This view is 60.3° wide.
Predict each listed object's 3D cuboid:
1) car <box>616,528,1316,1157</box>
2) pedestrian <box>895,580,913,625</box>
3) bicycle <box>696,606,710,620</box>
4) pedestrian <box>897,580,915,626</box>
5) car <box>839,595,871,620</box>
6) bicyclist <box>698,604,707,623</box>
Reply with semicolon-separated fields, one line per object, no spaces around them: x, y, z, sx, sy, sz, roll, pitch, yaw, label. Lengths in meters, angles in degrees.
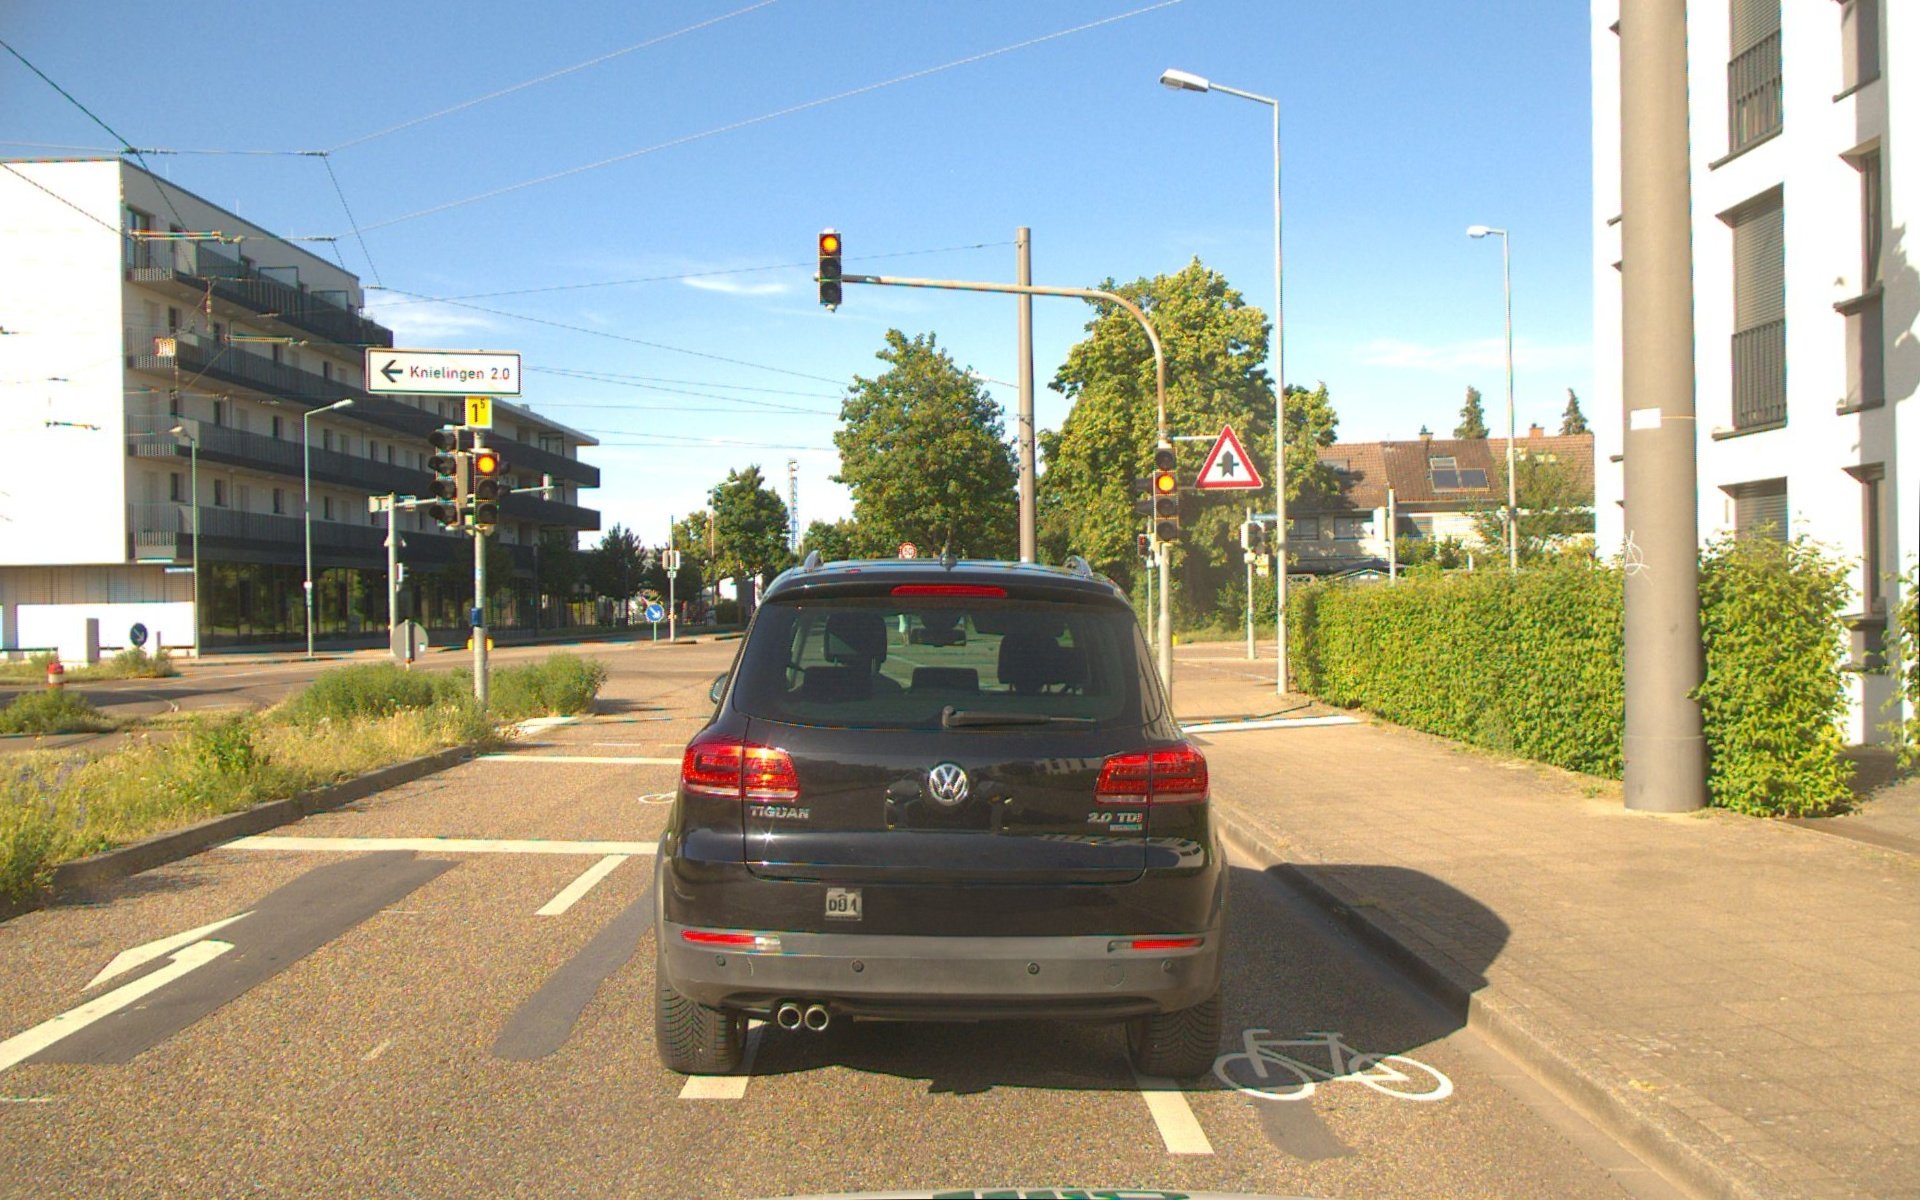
-0.046;0.644;6.435;1.867;1.671;3.998;0;0;-2;car
-2.001;0.081;59.102;0.590;1.592;0.529;0;0;4;pedestrian
-16.865;0.845;108.392;0.485;0.863;2.079;0;0;3;bicycle
-1.944;0.111;59.697;0.590;1.668;0.529;0;0;4;pedestrian
-5.978;0.409;94.351;1.716;1.411;3.998;0;0;-2;car
-16.864;0.881;108.394;0.464;1.245;0.713;0;0;3;bicyclist
